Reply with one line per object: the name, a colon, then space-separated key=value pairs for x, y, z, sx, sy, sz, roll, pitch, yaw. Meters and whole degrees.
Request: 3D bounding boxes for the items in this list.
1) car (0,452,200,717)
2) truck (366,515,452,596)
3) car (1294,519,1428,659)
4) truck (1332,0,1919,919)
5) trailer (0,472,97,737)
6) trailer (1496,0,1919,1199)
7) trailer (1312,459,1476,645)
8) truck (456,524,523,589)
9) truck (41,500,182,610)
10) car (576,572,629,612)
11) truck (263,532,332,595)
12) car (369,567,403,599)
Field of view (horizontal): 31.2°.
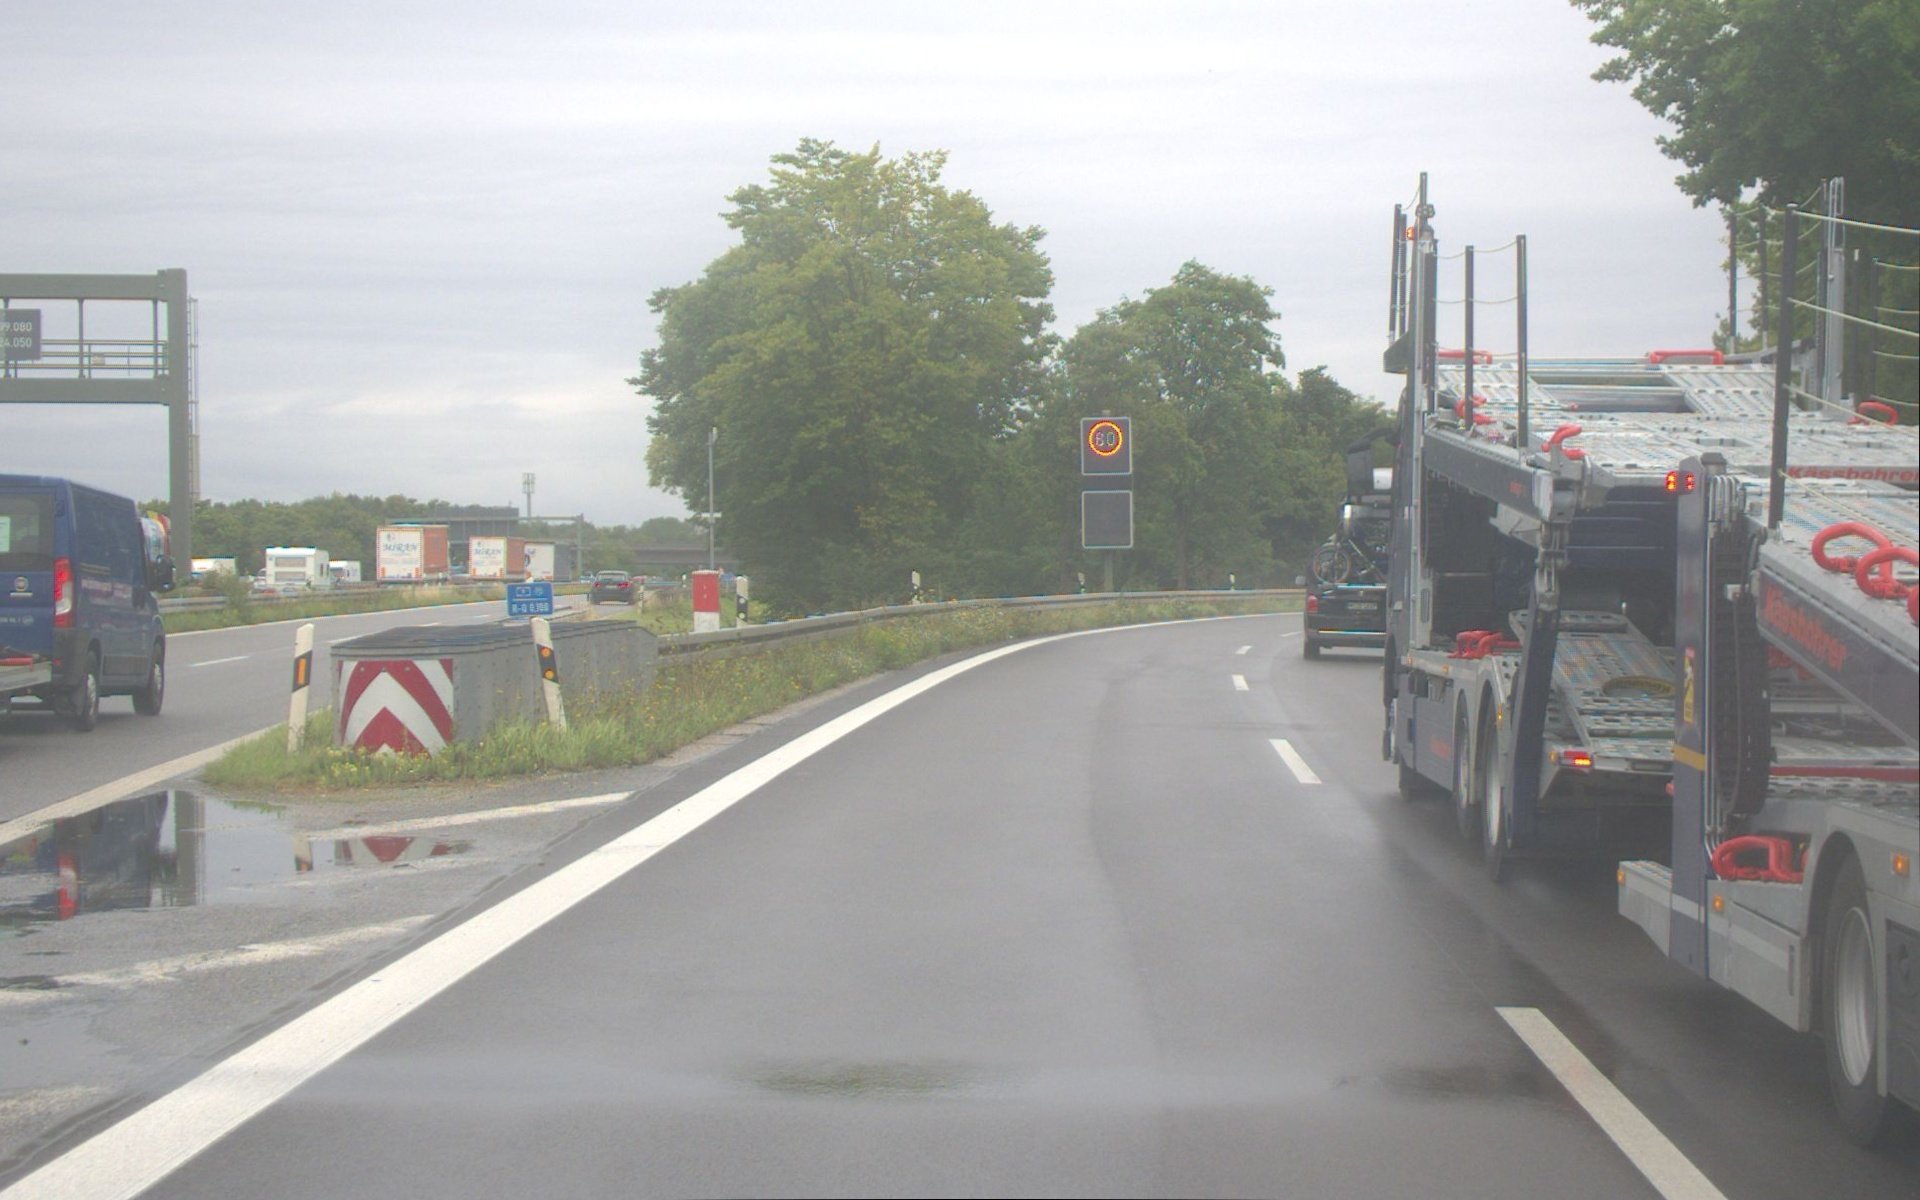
car: x=-8.911 y=-0.172 z=32.590 sx=2.372 sy=2.259 sz=6.257 roll=1 pitch=0 yaw=-4
truck: x=-31.158 y=-2.512 z=194.705 sx=3.732 sy=4.402 sz=10.196 roll=1 pitch=1 yaw=-4
car: x=6.888 y=-0.207 z=58.659 sx=2.111 sy=2.257 sz=5.894 roll=0 pitch=1 yaw=8
truck: x=3.863 y=-0.662 z=19.357 sx=2.739 sy=3.954 sz=9.128 roll=1 pitch=1 yaw=2
trailer: x=-8.450 y=0.013 z=25.974 sx=2.484 sy=1.988 sz=7.064 roll=1 pitch=0 yaw=-4
trailer: x=3.612 y=-0.181 z=9.556 sx=2.777 sy=3.273 sz=10.407 roll=1 pitch=1 yaw=1
trailer: x=10.502 y=-1.160 z=83.242 sx=3.450 sy=3.986 sz=12.023 roll=3 pitch=1 yaw=7
truck: x=-33.245 y=-3.039 z=243.384 sx=3.732 sy=4.402 sz=11.898 roll=1 pitch=1 yaw=-4
truck: x=-27.227 y=-1.427 z=110.651 sx=2.856 sy=3.353 sz=8.632 roll=1 pitch=0 yaw=-4
car: x=-15.035 y=-0.339 z=144.946 sx=1.961 sy=1.632 sz=5.626 roll=1 pitch=0 yaw=-4
truck: x=-29.123 y=-1.609 z=151.228 sx=2.243 sy=2.695 sz=5.280 roll=1 pitch=1 yaw=-4
car: x=-37.025 y=-1.095 z=221.836 sx=1.729 sy=2.007 sz=4.000 roll=1 pitch=0 yaw=-4
